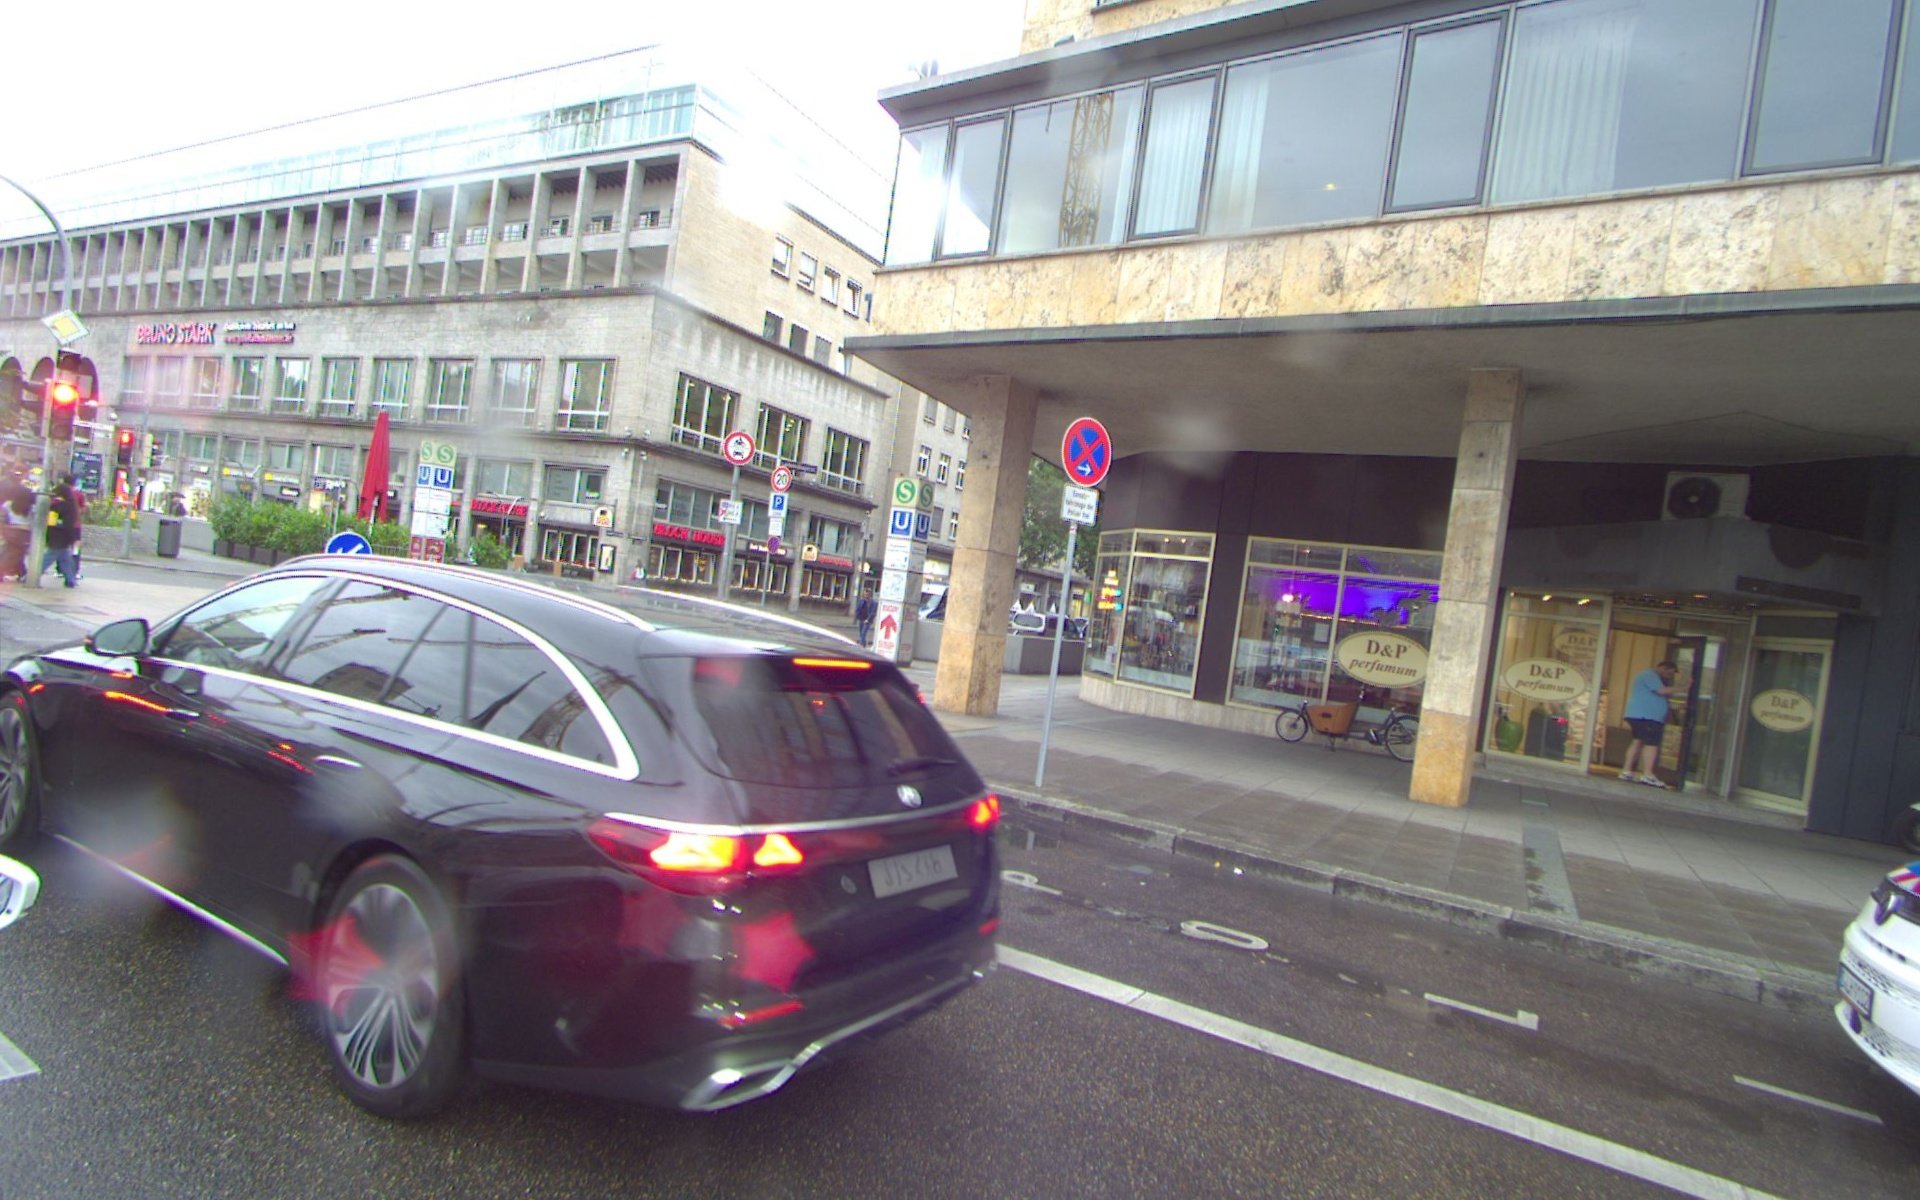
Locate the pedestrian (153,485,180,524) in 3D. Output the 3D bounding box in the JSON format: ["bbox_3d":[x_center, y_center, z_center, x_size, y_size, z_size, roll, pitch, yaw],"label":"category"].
[{"bbox_3d":[-44.350,-5.329,56.243,0.811,2.037,0.764,7,-1,32],"label":"pedestrian"}]

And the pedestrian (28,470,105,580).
[{"bbox_3d":[-15.389,-1.270,17.341,0.561,1.772,0.678,8,-1,-15],"label":"pedestrian"}]

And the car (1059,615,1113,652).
[{"bbox_3d":[8.872,2.374,70.453,1.965,2.065,4.834,7,-2,28],"label":"car"}]

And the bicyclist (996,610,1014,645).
[{"bbox_3d":[2.134,1.310,47.616,0.601,1.558,0.719,7,-1,10],"label":"bicyclist"}]

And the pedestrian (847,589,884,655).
[{"bbox_3d":[-2.681,0.627,28.554,0.768,1.777,0.503,8,-1,-15],"label":"pedestrian"}]

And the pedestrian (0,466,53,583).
[{"bbox_3d":[-14.851,-1.188,15.694,0.458,1.737,0.757,7,-1,28],"label":"pedestrian"}]

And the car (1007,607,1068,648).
[{"bbox_3d":[4.941,1.757,63.678,1.966,2.065,4.483,7,-2,29],"label":"car"}]

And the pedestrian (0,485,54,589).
[{"bbox_3d":[-14.435,-0.965,15.343,0.360,1.491,0.680,7,-1,27],"label":"pedestrian"}]

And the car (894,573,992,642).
[{"bbox_3d":[-0.762,0.466,51.413,1.965,2.792,6.185,7,-2,28],"label":"car"}]

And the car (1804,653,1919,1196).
[{"bbox_3d":[5.961,1.431,3.006,4.853,1.942,1.878,6,-2,31],"label":"car"}]

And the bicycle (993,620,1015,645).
[{"bbox_3d":[2.098,1.562,47.610,0.581,1.021,2.217,7,-2,12],"label":"bicycle"}]

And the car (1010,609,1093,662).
[{"bbox_3d":[4.309,1.701,46.656,1.966,1.995,4.638,7,-1,29],"label":"car"}]

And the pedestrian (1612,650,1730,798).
[{"bbox_3d":[9.716,1.672,13.745,1.119,1.811,0.798,6,-1,39],"label":"pedestrian"}]

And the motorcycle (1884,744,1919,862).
[{"bbox_3d":[11.137,2.287,10.489,2.074,1.232,0.567,6,-1,40],"label":"motorcycle"}]

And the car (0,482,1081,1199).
[{"bbox_3d":[-2.041,0.535,4.008,4.551,1.519,1.797,6,-2,31],"label":"car"}]

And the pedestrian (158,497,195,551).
[{"bbox_3d":[-32.313,-3.119,41.513,0.754,2.037,0.822,8,-1,-16],"label":"pedestrian"}]

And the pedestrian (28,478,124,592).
[{"bbox_3d":[-13.687,-0.994,15.595,0.609,1.627,0.801,7,-1,28],"label":"pedestrian"}]

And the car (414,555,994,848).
[{"bbox_3d":[-2.183,0.672,8.201,4.451,1.503,1.878,6,-2,31],"label":"car"}]

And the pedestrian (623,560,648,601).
[{"bbox_3d":[-13.035,-0.764,40.474,0.748,1.530,0.714,8,-1,-16],"label":"pedestrian"}]

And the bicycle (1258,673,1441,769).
[{"bbox_3d":[5.911,1.809,15.353,2.431,1.058,0.657,6,-1,32],"label":"bicycle"}]

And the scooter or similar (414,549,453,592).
[{"bbox_3d":[-16.367,-0.903,31.267,1.000,1.203,0.291,7,-1,13],"label":"scooter or similar"}]

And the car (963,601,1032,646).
[{"bbox_3d":[2.217,1.403,58.405,1.966,2.065,4.557,7,-2,29],"label":"car"}]
